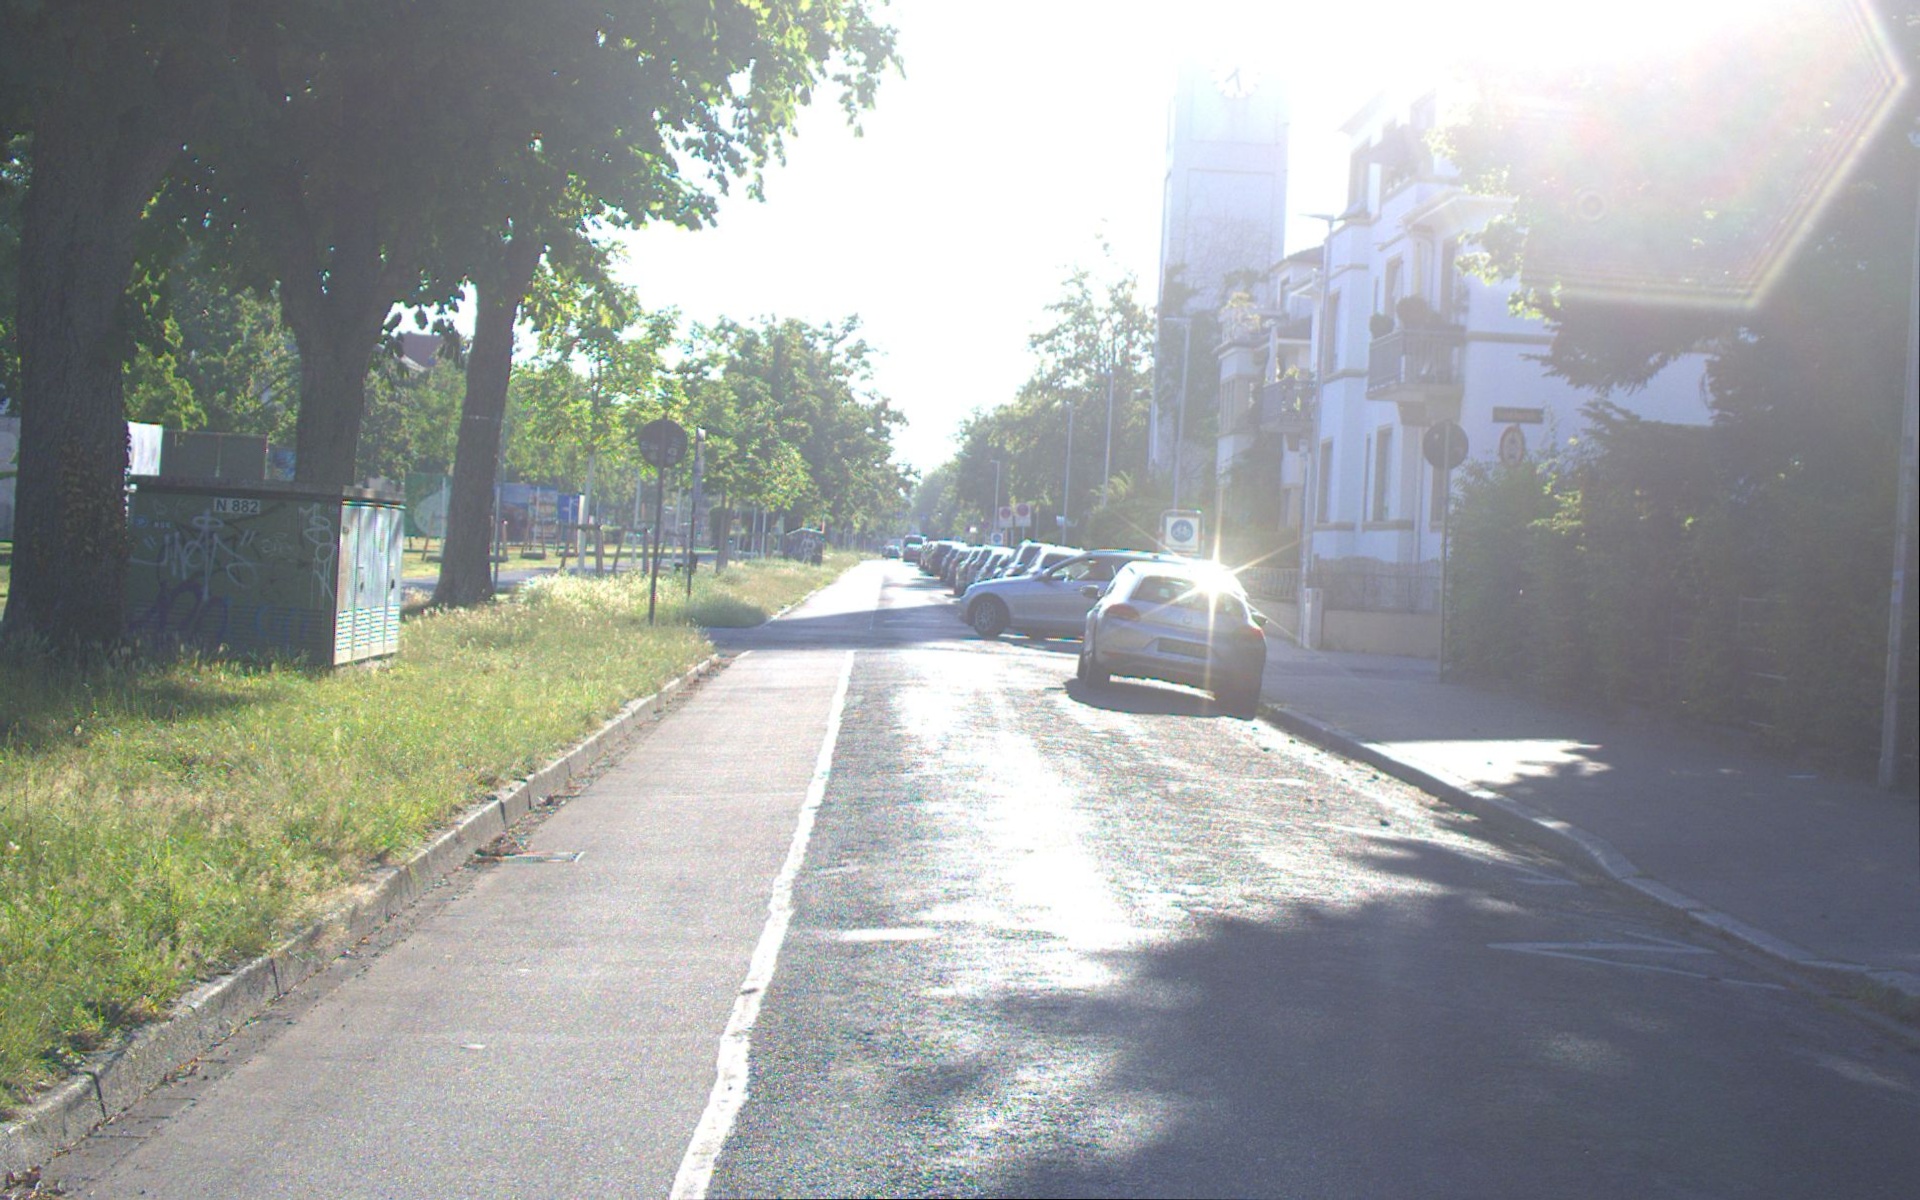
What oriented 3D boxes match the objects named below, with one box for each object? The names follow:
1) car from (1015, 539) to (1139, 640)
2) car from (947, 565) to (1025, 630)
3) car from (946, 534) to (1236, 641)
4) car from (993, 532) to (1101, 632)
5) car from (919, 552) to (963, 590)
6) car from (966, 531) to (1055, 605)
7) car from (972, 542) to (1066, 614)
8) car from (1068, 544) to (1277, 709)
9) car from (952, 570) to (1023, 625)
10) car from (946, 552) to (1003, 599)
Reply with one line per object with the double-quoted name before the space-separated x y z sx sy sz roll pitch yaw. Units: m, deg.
"car" 1.998 -0.209 59.806 1.758 1.599 4.359 3 1 -2
"car" 0.665 -0.081 90.773 1.761 1.516 4.000 5 1 -2
"car" 1.990 -0.209 52.197 3.992 1.415 1.764 3 2 24
"car" 1.634 -0.358 65.942 1.685 1.645 4.100 8 1 -1
"car" -0.878 -1.369 162.085 1.980 1.677 4.000 3 1 0
"car" 1.148 -0.759 80.455 1.758 1.599 4.359 3 1 -2
"car" 1.267 -0.503 75.435 1.761 1.415 4.001 3 1 -2
"car" 2.230 0.242 37.020 1.757 1.415 4.072 9 1 -1
"car" 0.802 -0.087 101.791 1.993 1.459 4.000 3 1 0
"car" 0.520 -0.910 127.581 1.993 1.624 4.000 3 1 0
